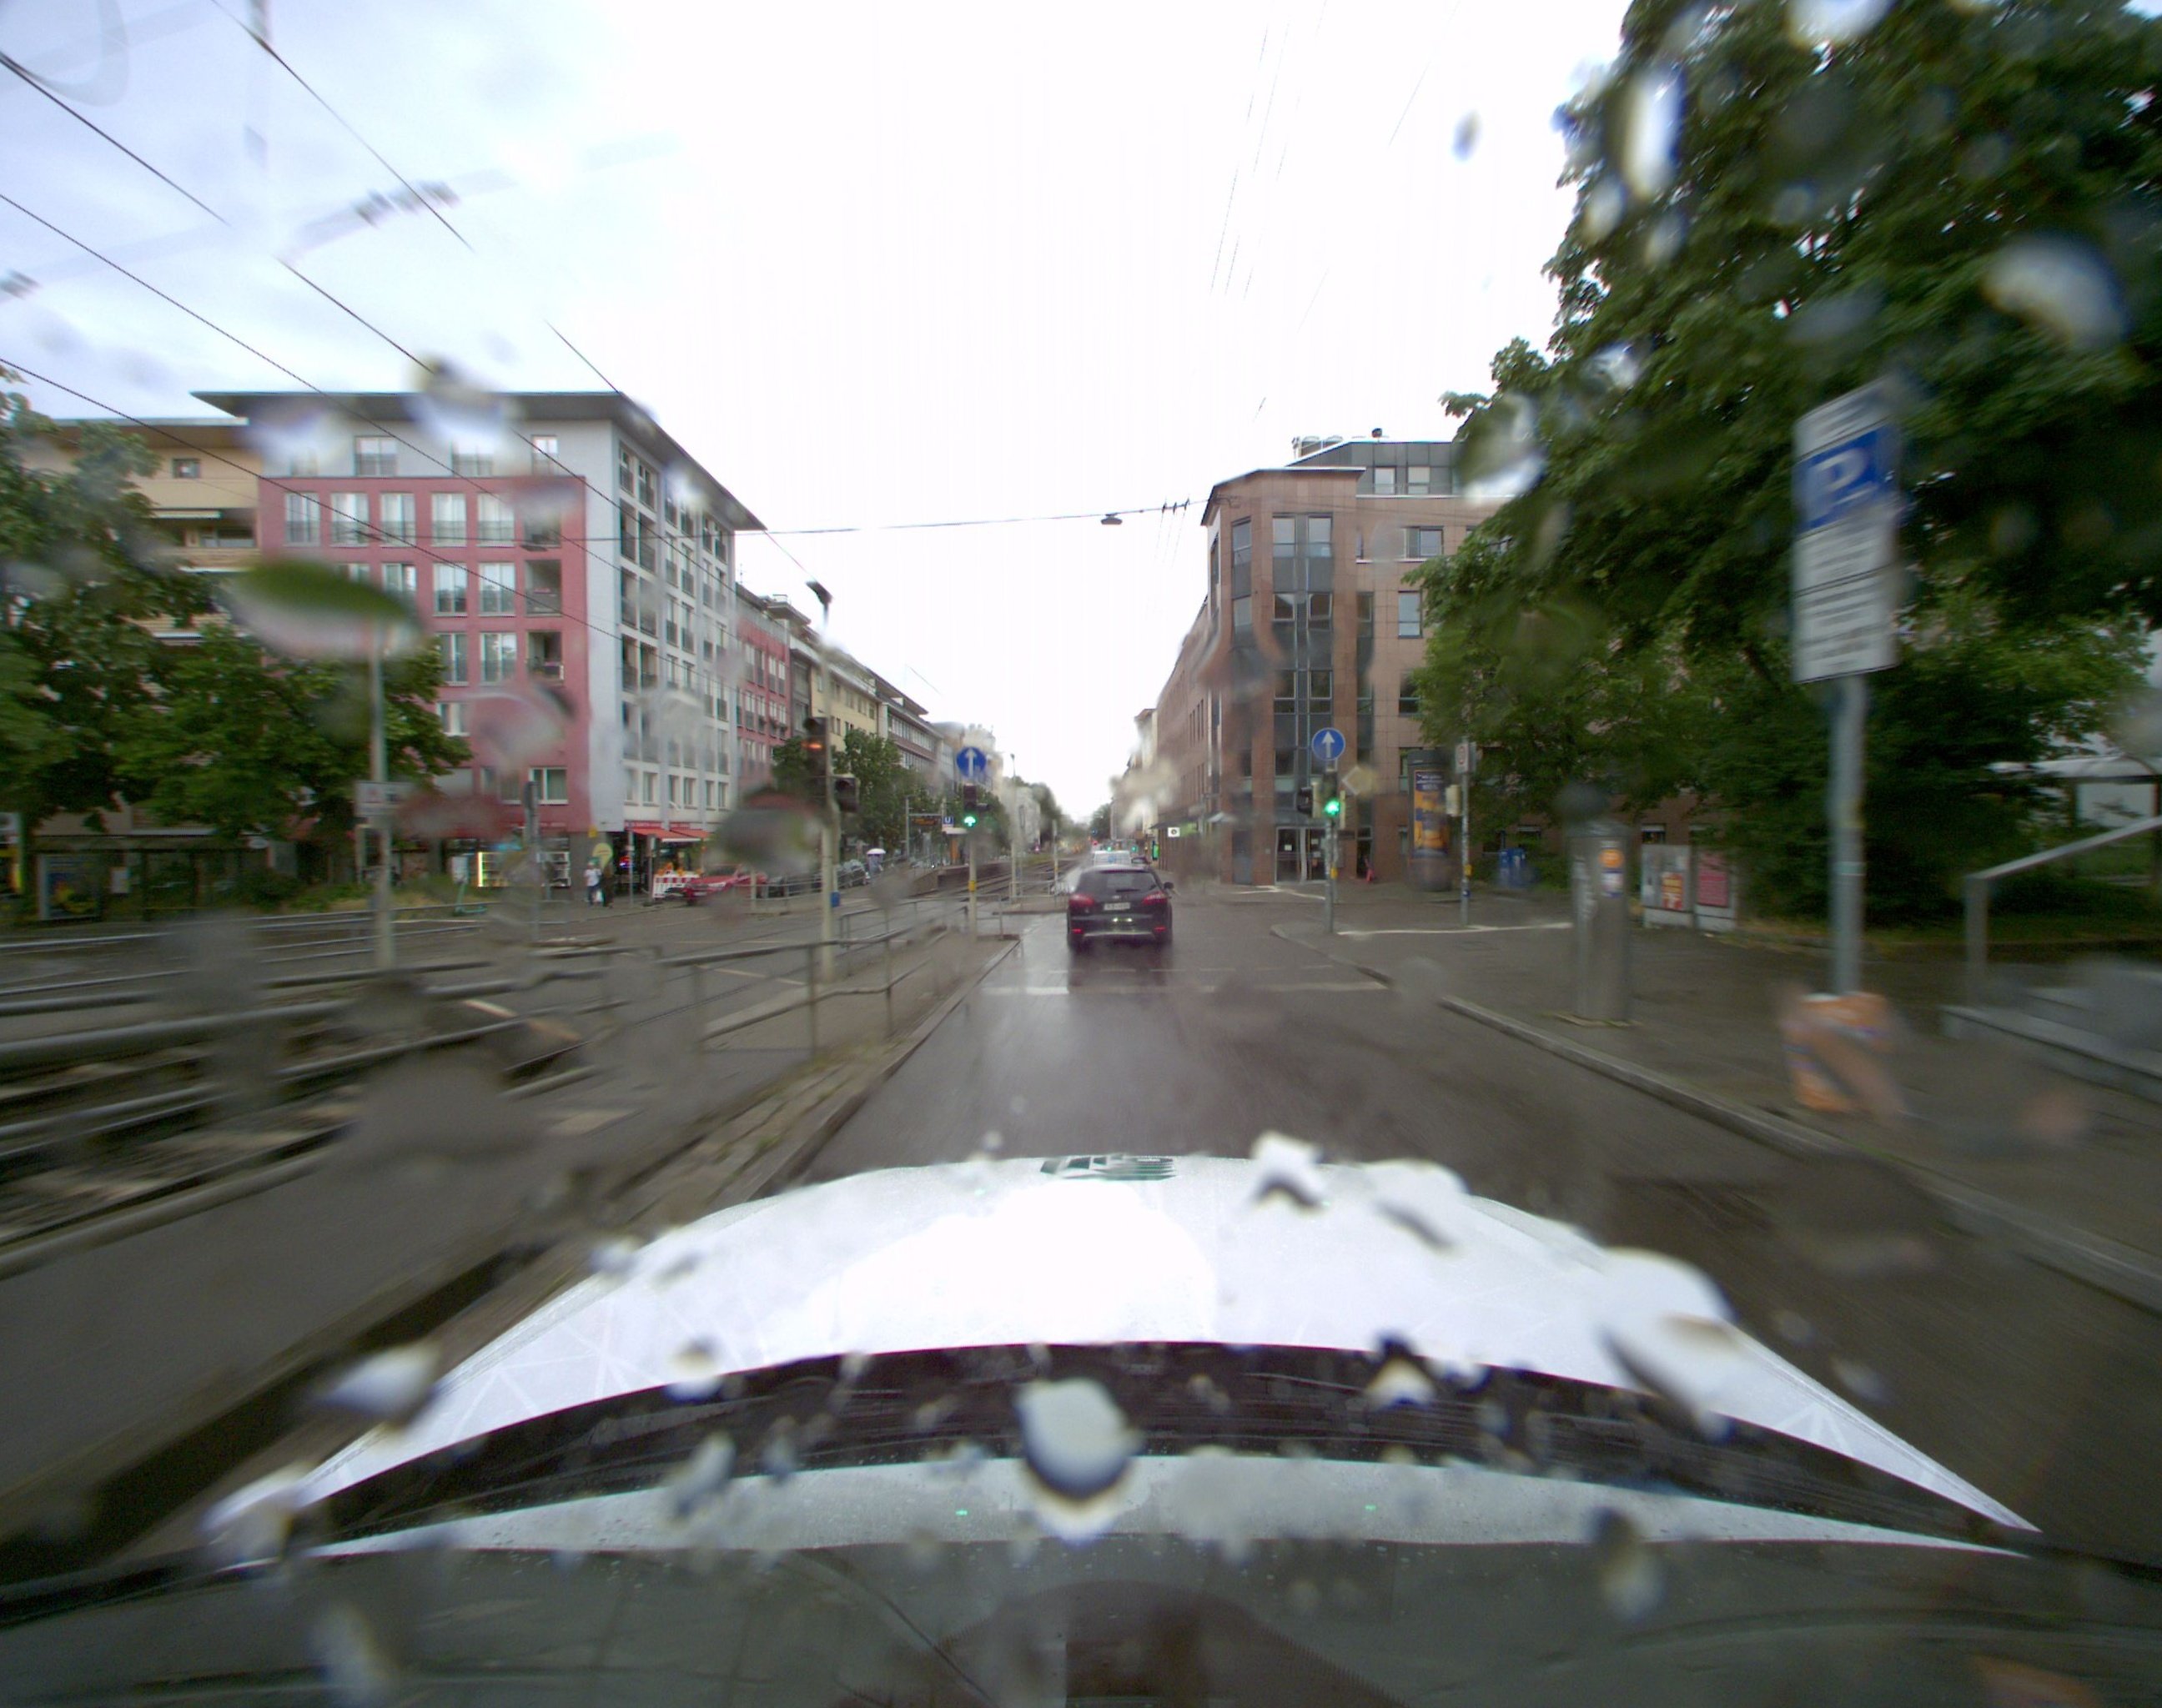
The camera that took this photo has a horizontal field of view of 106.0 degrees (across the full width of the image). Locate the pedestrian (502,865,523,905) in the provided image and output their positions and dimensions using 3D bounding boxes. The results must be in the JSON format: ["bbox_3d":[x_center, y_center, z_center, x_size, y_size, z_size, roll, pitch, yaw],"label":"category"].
[{"bbox_3d":[-23.869,1.292,34.198,0.581,1.632,0.606,1,-1,-25],"label":"pedestrian"}]

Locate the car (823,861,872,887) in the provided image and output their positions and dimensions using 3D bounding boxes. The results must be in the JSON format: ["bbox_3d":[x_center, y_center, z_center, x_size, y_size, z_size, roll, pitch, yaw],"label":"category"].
[{"bbox_3d":[-14.317,1.184,50.128,1.836,1.436,4.316,-1,0,-2],"label":"car"}]

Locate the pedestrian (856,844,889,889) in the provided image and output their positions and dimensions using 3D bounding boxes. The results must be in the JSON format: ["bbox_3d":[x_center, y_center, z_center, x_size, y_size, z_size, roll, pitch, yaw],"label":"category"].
[{"bbox_3d":[-9.624,0.554,37.634,1.112,2.014,1.383,-2,-1,1],"label":"pedestrian"}]

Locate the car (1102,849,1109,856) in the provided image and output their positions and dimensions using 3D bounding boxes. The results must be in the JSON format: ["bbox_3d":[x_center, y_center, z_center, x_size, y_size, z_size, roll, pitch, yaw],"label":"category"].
[{"bbox_3d":[6.659,-0.436,218.506,1.899,1.633,4.576,-1,0,2],"label":"car"}]

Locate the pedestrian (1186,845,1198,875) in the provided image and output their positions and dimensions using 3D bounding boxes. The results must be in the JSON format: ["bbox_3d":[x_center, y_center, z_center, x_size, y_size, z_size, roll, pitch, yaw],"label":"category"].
[{"bbox_3d":[6.271,0.356,46.061,0.599,1.659,0.626,-2,-1,1],"label":"pedestrian"}]

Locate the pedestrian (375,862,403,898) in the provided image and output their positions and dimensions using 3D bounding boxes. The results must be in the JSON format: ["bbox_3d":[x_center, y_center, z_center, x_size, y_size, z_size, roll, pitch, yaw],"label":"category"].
[{"bbox_3d":[-27.740,1.034,32.659,0.558,1.405,0.650,0,-1,-1],"label":"pedestrian"}]

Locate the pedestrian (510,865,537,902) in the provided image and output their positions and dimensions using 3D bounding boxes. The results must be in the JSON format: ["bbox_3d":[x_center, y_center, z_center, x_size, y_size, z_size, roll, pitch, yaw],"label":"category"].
[{"bbox_3d":[-22.707,1.191,33.173,0.637,1.461,0.656,0,-1,-1],"label":"pedestrian"}]

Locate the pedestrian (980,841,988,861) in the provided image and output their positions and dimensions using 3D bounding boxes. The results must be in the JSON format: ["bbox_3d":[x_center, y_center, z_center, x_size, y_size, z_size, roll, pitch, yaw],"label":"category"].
[{"bbox_3d":[-8.924,-0.287,75.011,0.654,1.801,0.849,-1,0,-1],"label":"pedestrian"}]

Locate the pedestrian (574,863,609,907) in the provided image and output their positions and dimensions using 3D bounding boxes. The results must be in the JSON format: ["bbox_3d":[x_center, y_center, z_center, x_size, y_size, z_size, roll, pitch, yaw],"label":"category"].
[{"bbox_3d":[-19.102,1.189,31.808,0.818,1.697,0.984,0,-1,-7],"label":"pedestrian"}]

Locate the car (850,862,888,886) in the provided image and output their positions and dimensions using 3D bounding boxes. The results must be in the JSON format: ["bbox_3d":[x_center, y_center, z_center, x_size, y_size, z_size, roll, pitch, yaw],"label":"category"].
[{"bbox_3d":[-14.196,1.315,54.718,1.564,1.436,3.976,-1,0,-2],"label":"car"}]

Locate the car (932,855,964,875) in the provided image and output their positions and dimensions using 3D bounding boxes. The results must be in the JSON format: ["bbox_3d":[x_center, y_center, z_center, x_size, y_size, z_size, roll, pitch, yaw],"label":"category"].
[{"bbox_3d":[-11.488,0.942,70.771,1.800,1.578,5.023,-1,0,2],"label":"car"}]

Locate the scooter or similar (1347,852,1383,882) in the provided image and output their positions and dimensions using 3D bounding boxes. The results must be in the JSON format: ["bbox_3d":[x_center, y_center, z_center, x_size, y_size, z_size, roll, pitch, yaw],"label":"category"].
[{"bbox_3d":[11.888,0.533,34.132,1.368,1.227,0.326,-2,-1,3],"label":"scooter or similar"}]

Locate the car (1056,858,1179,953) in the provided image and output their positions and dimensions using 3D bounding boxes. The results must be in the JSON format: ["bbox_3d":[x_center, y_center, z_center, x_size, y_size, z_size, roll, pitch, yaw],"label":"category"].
[{"bbox_3d":[0.624,0.825,14.523,1.899,1.462,3.446,-1,-1,1],"label":"car"}]

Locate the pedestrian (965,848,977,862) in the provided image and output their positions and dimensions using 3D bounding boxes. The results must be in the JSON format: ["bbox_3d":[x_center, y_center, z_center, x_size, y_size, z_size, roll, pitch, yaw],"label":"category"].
[{"bbox_3d":[-8.927,0.064,66.118,0.892,1.123,0.847,-1,0,-10],"label":"pedestrian"}]

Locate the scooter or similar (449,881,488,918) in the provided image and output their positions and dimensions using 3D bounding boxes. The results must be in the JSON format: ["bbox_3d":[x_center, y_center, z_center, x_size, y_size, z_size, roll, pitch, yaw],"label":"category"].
[{"bbox_3d":[-21.243,1.569,28.276,0.387,1.191,1.212,-2,-1,2],"label":"scooter or similar"}]

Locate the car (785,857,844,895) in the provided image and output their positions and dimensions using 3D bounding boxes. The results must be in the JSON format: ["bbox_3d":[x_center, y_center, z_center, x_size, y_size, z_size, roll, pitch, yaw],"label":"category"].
[{"bbox_3d":[-14.395,1.146,44.232,1.797,1.858,4.378,-1,0,-1],"label":"car"}]

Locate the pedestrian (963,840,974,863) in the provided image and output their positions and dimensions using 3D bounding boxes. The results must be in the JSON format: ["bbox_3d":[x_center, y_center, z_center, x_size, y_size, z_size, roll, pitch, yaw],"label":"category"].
[{"bbox_3d":[-8.491,-0.203,61.617,0.654,1.711,0.849,-1,0,-1],"label":"pedestrian"}]

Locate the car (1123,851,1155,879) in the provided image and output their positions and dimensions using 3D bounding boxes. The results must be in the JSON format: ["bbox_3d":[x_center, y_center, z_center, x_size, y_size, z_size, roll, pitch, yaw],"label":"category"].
[{"bbox_3d":[3.340,0.638,47.398,1.692,1.479,3.869,-3,-1,2],"label":"car"}]

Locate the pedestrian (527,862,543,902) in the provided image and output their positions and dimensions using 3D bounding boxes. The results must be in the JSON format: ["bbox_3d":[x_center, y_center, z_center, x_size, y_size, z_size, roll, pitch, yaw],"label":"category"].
[{"bbox_3d":[-22.969,1.172,34.251,0.548,1.632,0.568,1,-1,-35],"label":"pedestrian"}]

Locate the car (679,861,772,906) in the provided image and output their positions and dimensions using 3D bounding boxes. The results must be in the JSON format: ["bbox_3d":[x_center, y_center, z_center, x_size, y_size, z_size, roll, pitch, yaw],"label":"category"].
[{"bbox_3d":[-14.805,1.174,34.228,1.719,1.611,4.555,-1,1,2],"label":"car"}]

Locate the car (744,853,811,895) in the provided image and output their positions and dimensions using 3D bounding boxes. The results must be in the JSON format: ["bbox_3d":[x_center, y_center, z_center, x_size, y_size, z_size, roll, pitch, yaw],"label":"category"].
[{"bbox_3d":[-14.741,0.923,39.763,1.702,1.858,4.318,-1,0,-1],"label":"car"}]

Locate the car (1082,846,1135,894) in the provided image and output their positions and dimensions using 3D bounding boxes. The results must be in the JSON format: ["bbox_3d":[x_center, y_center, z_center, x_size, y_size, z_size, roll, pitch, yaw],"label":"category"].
[{"bbox_3d":[1.102,0.660,34.454,1.901,1.865,4.570,-1,0,-2],"label":"car"}]

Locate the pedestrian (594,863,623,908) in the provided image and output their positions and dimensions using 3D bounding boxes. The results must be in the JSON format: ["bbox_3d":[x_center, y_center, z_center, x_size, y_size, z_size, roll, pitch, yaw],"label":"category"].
[{"bbox_3d":[-17.760,1.173,30.627,0.808,1.631,0.876,-2,2,-23],"label":"pedestrian"}]
